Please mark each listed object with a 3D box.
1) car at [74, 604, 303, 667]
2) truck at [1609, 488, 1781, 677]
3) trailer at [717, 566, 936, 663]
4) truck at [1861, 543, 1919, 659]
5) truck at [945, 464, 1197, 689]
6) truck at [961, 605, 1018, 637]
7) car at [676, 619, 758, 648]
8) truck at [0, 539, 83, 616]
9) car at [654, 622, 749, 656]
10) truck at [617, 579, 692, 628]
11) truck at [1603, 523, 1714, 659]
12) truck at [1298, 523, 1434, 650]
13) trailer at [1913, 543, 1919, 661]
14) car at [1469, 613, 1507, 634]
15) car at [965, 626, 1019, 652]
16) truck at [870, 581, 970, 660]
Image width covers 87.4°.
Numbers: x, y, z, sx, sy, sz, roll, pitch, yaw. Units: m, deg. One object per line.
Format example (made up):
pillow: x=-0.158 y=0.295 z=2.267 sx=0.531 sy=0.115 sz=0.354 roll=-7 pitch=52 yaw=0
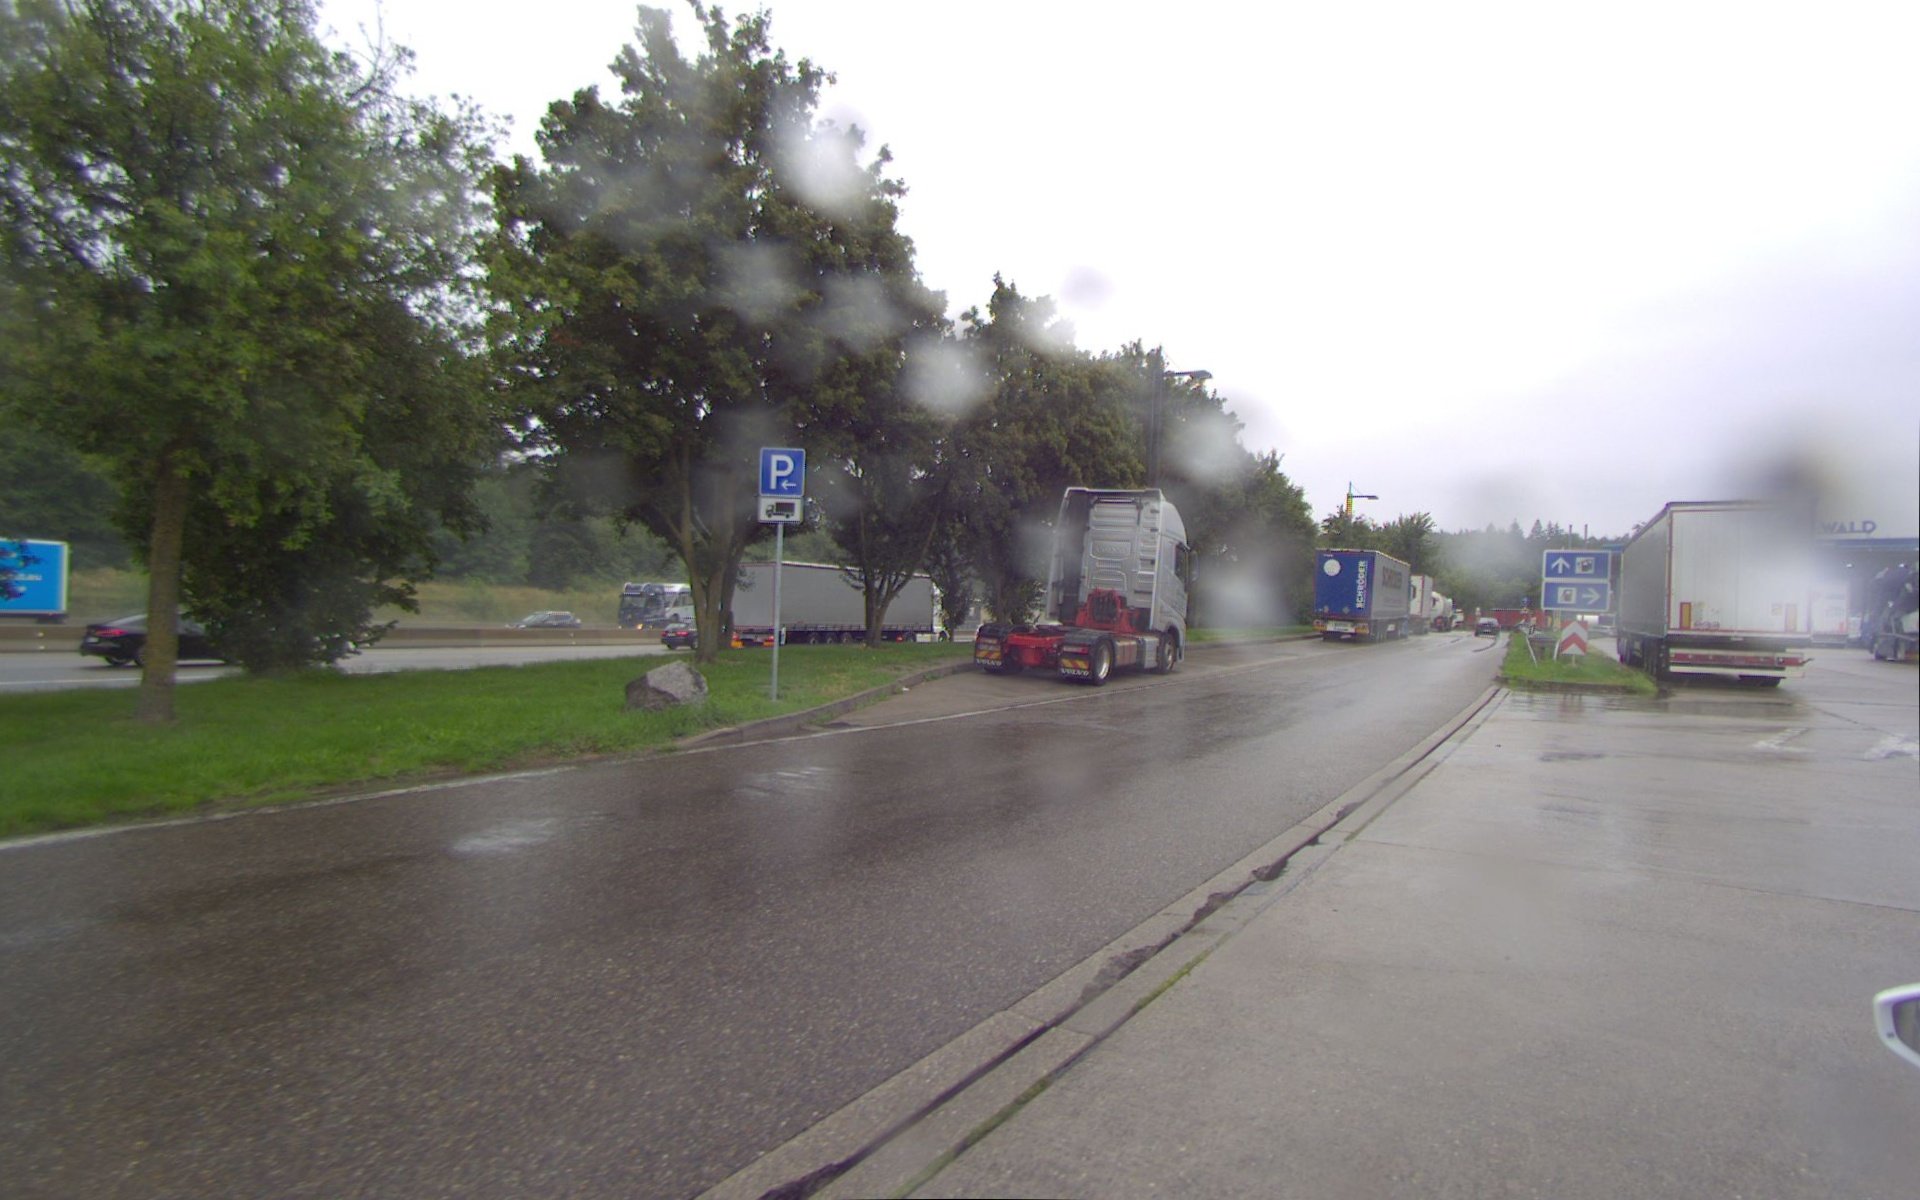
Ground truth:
car: x=-20.623 y=0.968 z=27.089 sx=1.851 sy=1.500 sz=4.497 roll=1 pitch=-2 yaw=28
truck: x=19.176 y=-0.300 z=26.896 sx=2.336 sy=3.926 sz=12.430 roll=1 pitch=0 yaw=30
trailer: x=-5.849 y=0.917 z=48.660 sx=2.851 sy=4.034 sz=14.101 roll=0 pitch=-2 yaw=28
truck: x=38.496 y=0.130 z=39.397 sx=3.188 sy=4.245 sz=8.422 roll=2 pitch=1 yaw=32
truck: x=2.579 y=-0.392 z=21.140 sx=2.873 sy=3.956 sz=6.303 roll=1 pitch=0 yaw=31
truck: x=3.591 y=2.468 z=119.950 sx=2.733 sy=3.552 sz=8.665 roll=1 pitch=0 yaw=32
car: x=-13.791 y=1.914 z=57.259 sx=1.965 sy=1.560 sz=4.519 roll=1 pitch=-2 yaw=31
truck: x=-39.398 y=-0.964 z=38.147 sx=2.213 sy=2.990 sz=8.933 roll=0 pitch=-1 yaw=27
car: x=-12.939 y=1.982 z=50.482 sx=1.965 sy=1.560 sz=4.519 roll=1 pitch=-2 yaw=31
truck: x=-21.576 y=0.270 z=71.107 sx=2.204 sy=3.200 sz=4.930 roll=5 pitch=1 yaw=24
truck: x=22.466 y=-0.226 z=32.596 sx=2.336 sy=3.926 sz=6.998 roll=1 pitch=0 yaw=30
truck: x=19.802 y=-0.500 z=48.376 sx=4.720 sy=5.376 sz=11.052 roll=1 pitch=0 yaw=29
trailer: x=33.183 y=0.061 z=30.963 sx=3.170 sy=4.245 sz=11.500 roll=2 pitch=1 yaw=32
car: x=40.511 y=1.800 z=77.033 sx=1.855 sy=1.481 sz=3.985 roll=3 pitch=0 yaw=37
car: x=2.054 y=2.424 z=63.597 sx=1.880 sy=1.571 sz=3.996 roll=0 pitch=-1 yaw=26
truck: x=-2.112 y=1.208 z=55.701 sx=2.830 sy=4.105 sz=5.926 roll=0 pitch=-2 yaw=29
